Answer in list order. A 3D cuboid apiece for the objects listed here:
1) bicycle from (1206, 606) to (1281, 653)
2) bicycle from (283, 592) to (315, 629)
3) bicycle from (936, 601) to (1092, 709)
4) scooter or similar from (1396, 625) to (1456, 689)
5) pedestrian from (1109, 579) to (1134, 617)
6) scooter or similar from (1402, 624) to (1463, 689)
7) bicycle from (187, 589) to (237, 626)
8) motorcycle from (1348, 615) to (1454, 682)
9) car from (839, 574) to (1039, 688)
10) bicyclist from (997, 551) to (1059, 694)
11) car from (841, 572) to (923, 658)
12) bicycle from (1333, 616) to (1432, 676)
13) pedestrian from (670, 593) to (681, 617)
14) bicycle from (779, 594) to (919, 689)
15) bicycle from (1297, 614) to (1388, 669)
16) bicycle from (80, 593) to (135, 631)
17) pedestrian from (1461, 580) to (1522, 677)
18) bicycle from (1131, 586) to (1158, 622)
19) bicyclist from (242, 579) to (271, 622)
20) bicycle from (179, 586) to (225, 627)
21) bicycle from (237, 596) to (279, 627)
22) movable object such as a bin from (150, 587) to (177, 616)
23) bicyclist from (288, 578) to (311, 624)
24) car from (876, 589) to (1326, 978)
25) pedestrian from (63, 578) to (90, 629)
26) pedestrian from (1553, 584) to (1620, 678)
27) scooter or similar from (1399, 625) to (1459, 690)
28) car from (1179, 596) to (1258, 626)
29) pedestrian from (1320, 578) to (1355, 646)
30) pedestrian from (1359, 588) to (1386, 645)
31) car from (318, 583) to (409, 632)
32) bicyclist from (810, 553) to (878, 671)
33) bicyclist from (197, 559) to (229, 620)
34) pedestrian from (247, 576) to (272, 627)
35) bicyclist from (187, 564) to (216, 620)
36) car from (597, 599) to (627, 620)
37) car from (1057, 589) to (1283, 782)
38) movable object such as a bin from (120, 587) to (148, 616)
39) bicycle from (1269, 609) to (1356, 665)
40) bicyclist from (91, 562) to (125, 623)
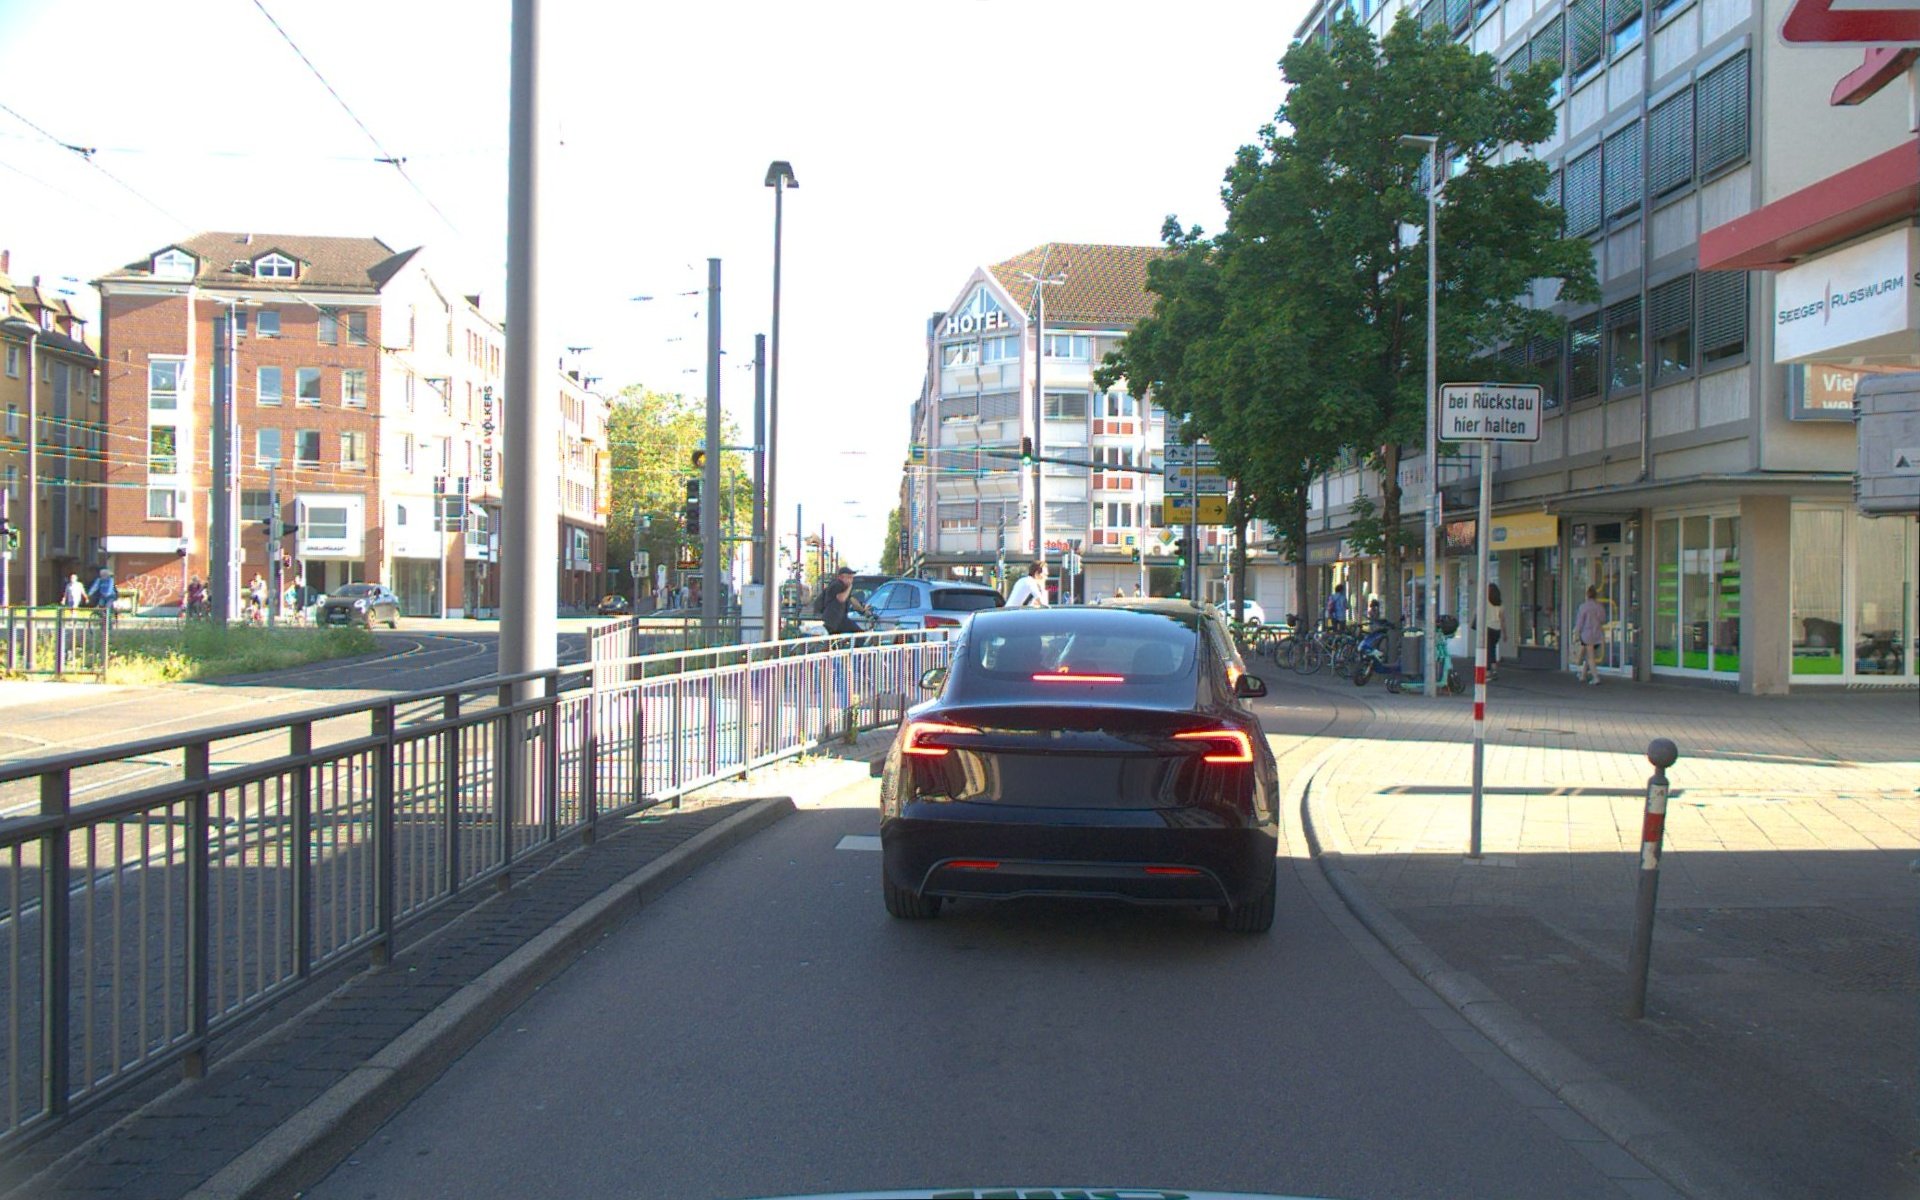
[{"bbox_3d":[7.289,0.759,42.554,1.851,1.177,0.480,-1,-1,0],"label":"bicycle"},{"bbox_3d":[-24.050,0.378,60.217,0.562,1.313,2.023,1,0,-7],"label":"bicycle"},{"bbox_3d":[0.626,0.643,19.617,1.784,1.233,0.582,1,-1,-4],"label":"bicycle"},{"bbox_3d":[7.722,0.948,27.417,0.943,1.045,0.160,0,0,2],"label":"scooter or similar"},{"bbox_3d":[6.861,-0.093,70.167,0.766,1.604,0.864,1,1,-16],"label":"pedestrian"},{"bbox_3d":[7.713,0.924,27.019,0.943,1.061,0.160,0,0,2],"label":"scooter or similar"},{"bbox_3d":[-21.218,0.208,46.960,0.519,1.031,1.897,1,0,1],"label":"bicycle"},{"bbox_3d":[7.825,0.852,29.359,1.751,1.149,0.504,1,-1,-3],"label":"motorcycle"},{"bbox_3d":[-0.397,0.459,26.213,1.818,1.663,3.455,1,0,-27],"label":"car"},{"bbox_3d":[0.802,0.261,19.629,0.667,1.659,0.578,1,-1,-3],"label":"bicyclist"},{"bbox_3d":[-1.601,0.301,33.907,1.541,1.646,3.781,1,0,-3],"label":"car"},{"bbox_3d":[8.032,0.867,31.438,1.817,1.074,0.398,-1,0,-12],"label":"bicycle"},{"bbox_3d":[-18.732,0.337,108.891,0.574,1.557,0.634,1,-1,-18],"label":"pedestrian"},{"bbox_3d":[-1.487,0.553,22.298,1.802,1.233,0.635,1,-1,-32],"label":"bicycle"},{"bbox_3d":[7.731,0.829,33.453,1.730,1.075,0.458,1,-1,4],"label":"bicycle"},{"bbox_3d":[-23.807,0.331,46.230,0.519,1.031,1.885,1,0,1],"label":"bicycle"},{"bbox_3d":[9.768,0.517,30.420,0.826,1.737,0.880,1,-1,-1],"label":"pedestrian"},{"bbox_3d":[7.828,0.154,70.177,0.573,1.489,1.679,0,0,-16],"label":"bicycle"},{"bbox_3d":[-24.298,0.021,57.141,0.650,1.479,0.730,1,-1,0],"label":"bicyclist"},{"bbox_3d":[-23.347,0.209,50.967,0.519,1.235,1.885,1,0,1],"label":"bicycle"},{"bbox_3d":[-24.305,0.391,57.291,0.636,1.031,1.885,1,0,1],"label":"bicycle"},{"bbox_3d":[-41.511,0.082,86.201,0.978,1.462,1.093,1,0,-10],"label":"movable object such as a bin"},{"bbox_3d":[-24.027,0.034,60.173,0.577,1.678,0.805,1,-1,-8],"label":"bicyclist"},{"bbox_3d":[0.648,0.710,8.520,1.753,1.476,3.941,1,1,3],"label":"car"},{"bbox_3d":[-30.108,0.122,56.382,0.613,1.717,0.703,1,1,-13],"label":"pedestrian"},{"bbox_3d":[11.081,0.547,29.275,0.826,1.630,0.880,1,-1,-1],"label":"pedestrian"},{"bbox_3d":[7.717,0.937,27.217,0.936,1.057,0.160,0,0,2],"label":"scooter or similar"},{"bbox_3d":[13.514,0.588,86.579,3.766,1.457,1.801,1,-2,-6],"label":"car"},{"bbox_3d":[9.792,0.310,42.928,0.825,1.751,0.881,1,-1,10],"label":"pedestrian"},{"bbox_3d":[10.621,0.432,42.591,0.631,1.447,0.621,1,-1,10],"label":"pedestrian"},{"bbox_3d":[-20.319,0.242,56.482,1.650,1.588,4.121,1,0,-1],"label":"car"},{"bbox_3d":[-1.563,0.159,22.253,0.674,1.550,0.628,1,-1,-32],"label":"bicyclist"},{"bbox_3d":[-21.208,-0.291,46.961,0.514,1.702,0.770,1,-1,1],"label":"bicyclist"},{"bbox_3d":[-28.462,0.045,67.225,0.582,2.049,0.830,1,-1,2],"label":"pedestrian"},{"bbox_3d":[-23.338,-0.233,50.913,0.510,1.702,0.770,1,-1,0],"label":"bicyclist"},{"bbox_3d":[-25.701,0.686,122.210,1.783,1.479,3.971,-1,0,-7],"label":"car"},{"bbox_3d":[1.788,0.649,15.157,1.727,1.469,4.531,1,0,4],"label":"car"},{"bbox_3d":[-42.900,0.063,85.941,0.978,1.462,1.093,1,0,-10],"label":"movable object such as a bin"},{"bbox_3d":[7.557,0.790,35.486,1.774,1.172,0.435,0,0,-5],"label":"bicycle"},{"bbox_3d":[-23.799,-0.205,46.207,0.510,1.702,0.770,1,-1,0],"label":"bicyclist"}]
